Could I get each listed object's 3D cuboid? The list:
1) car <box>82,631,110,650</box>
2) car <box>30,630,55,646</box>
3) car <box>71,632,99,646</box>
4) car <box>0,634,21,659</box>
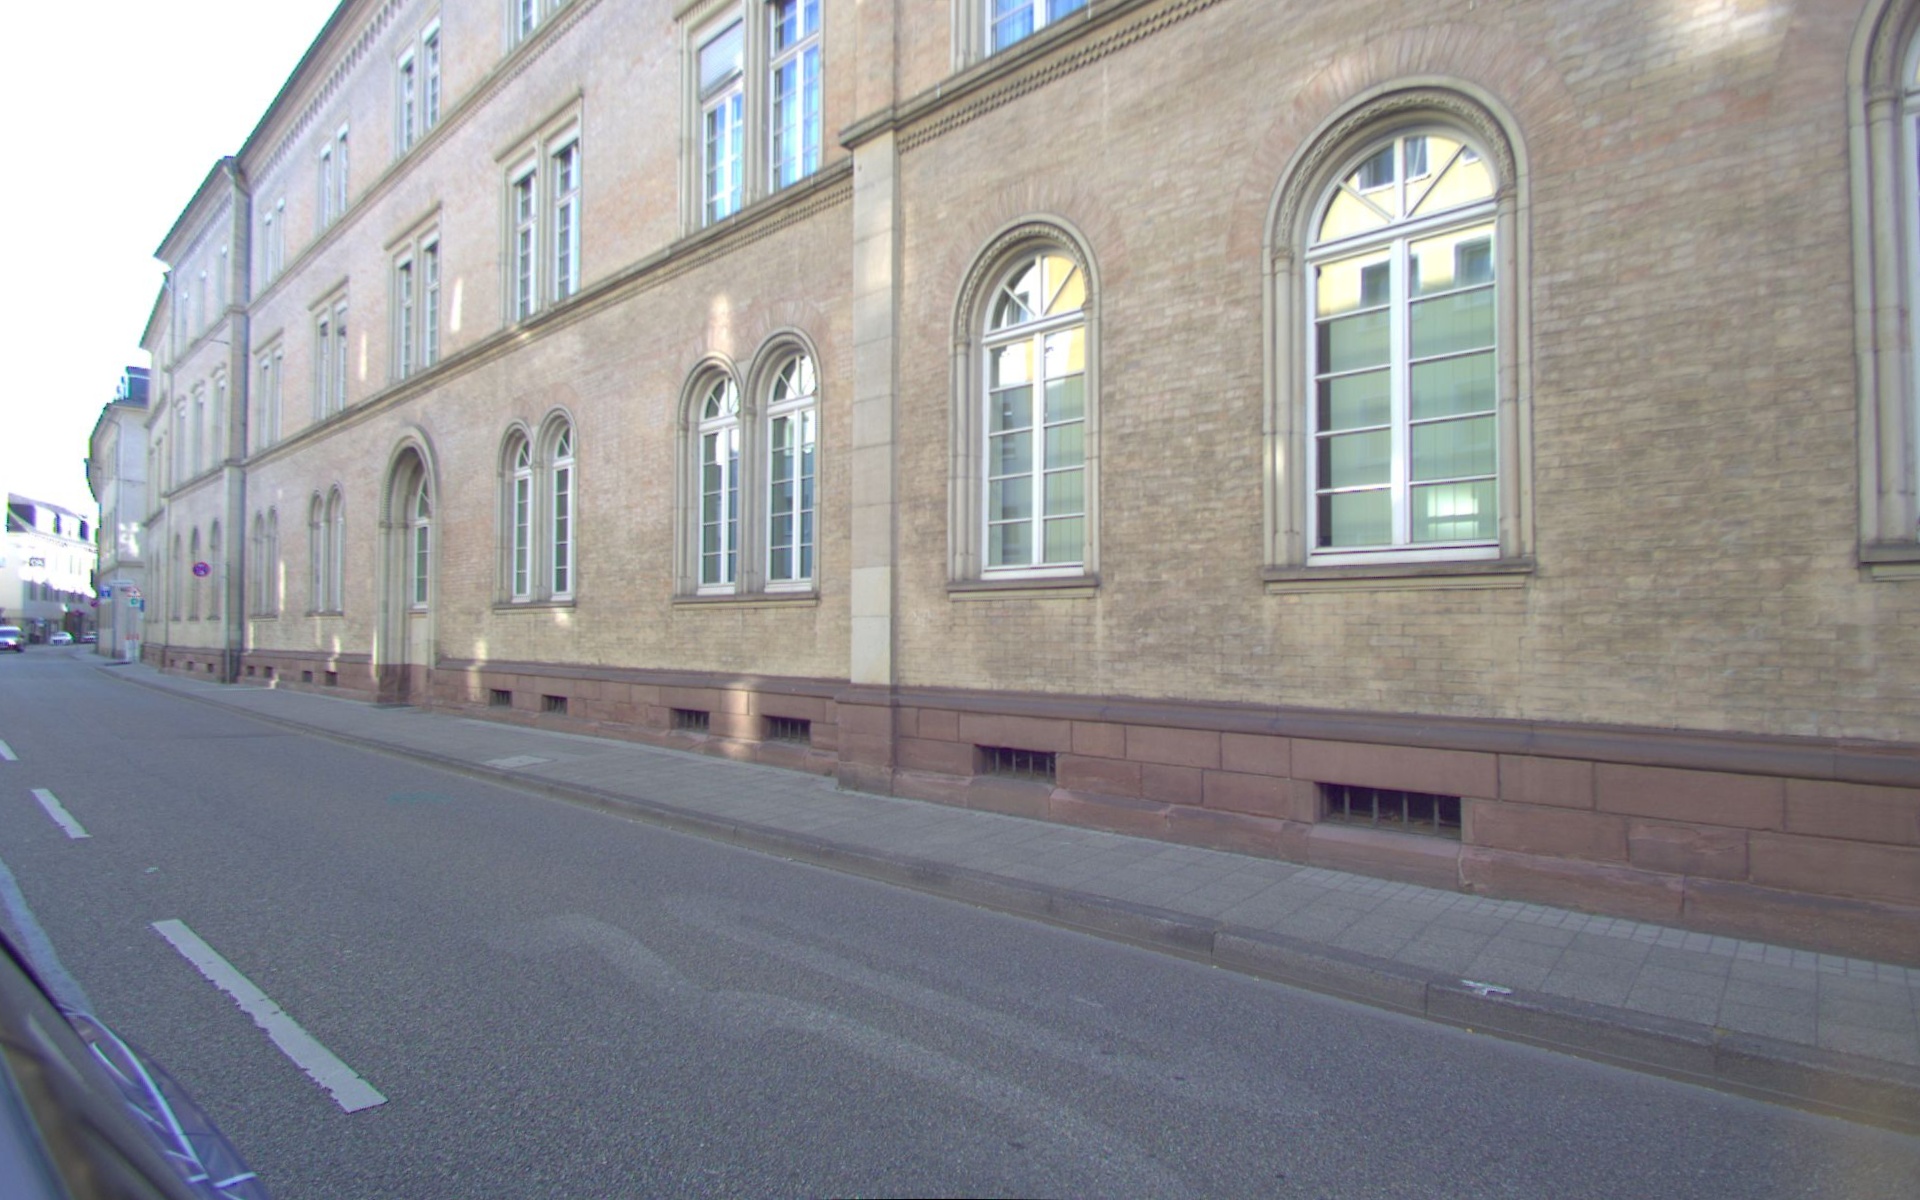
[{"bbox_3d":[-80.254,3.751,94.019,1.638,1.737,3.748,1,-2,-36],"label":"car"},{"bbox_3d":[-102.457,4.188,113.008,1.511,1.737,3.749,1,-2,-34],"label":"car"},{"bbox_3d":[-109.354,4.857,126.485,1.896,1.737,4.242,1,-2,-31],"label":"car"},{"bbox_3d":[-67.569,3.273,71.237,1.894,1.735,4.967,1,-2,-41],"label":"car"}]
